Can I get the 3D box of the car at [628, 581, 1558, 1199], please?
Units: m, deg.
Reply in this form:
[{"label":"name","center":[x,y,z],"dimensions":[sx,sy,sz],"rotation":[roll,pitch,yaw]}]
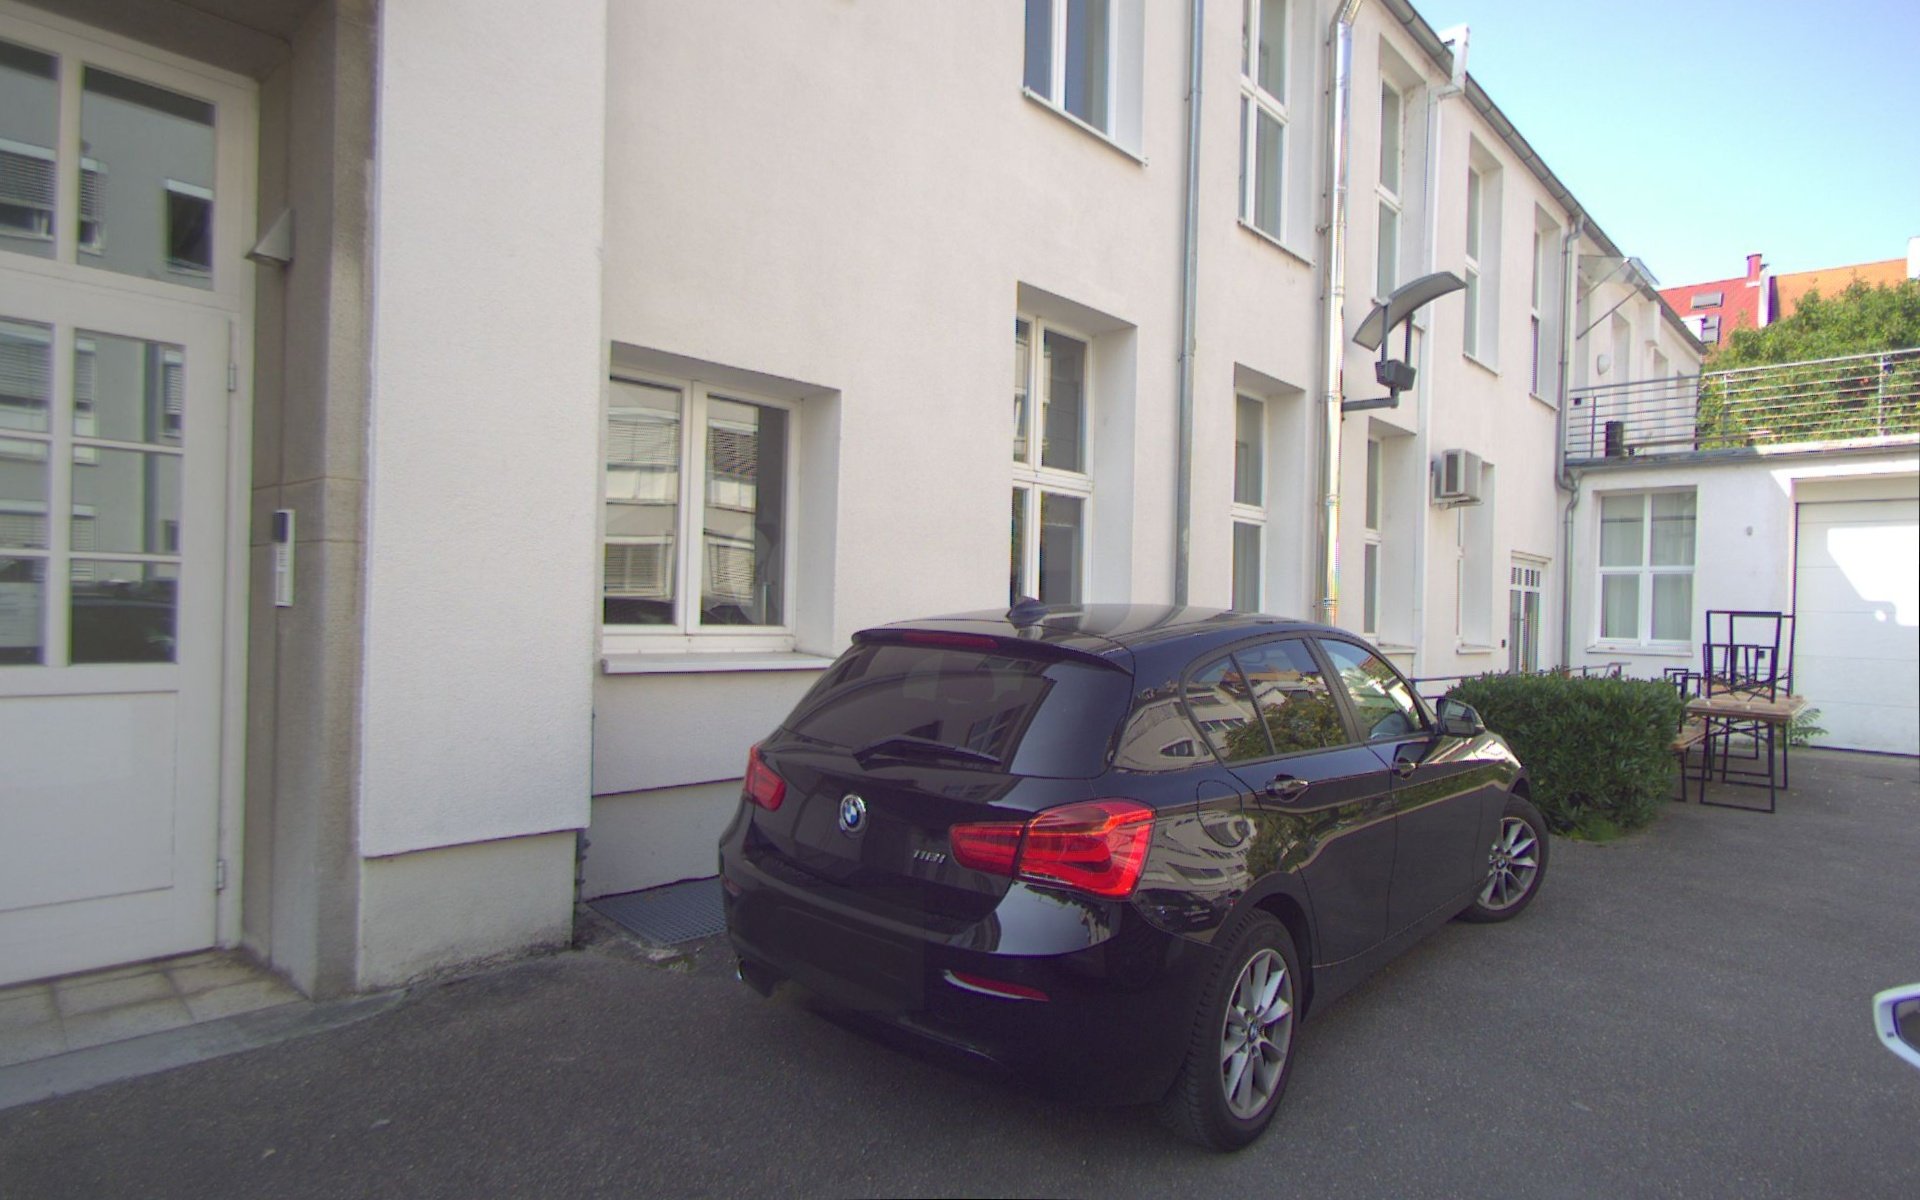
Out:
[{"label":"car","center":[0.978,0.726,4.144],"dimensions":[1.773,1.447,4.114],"rotation":[2,0,42]}]
